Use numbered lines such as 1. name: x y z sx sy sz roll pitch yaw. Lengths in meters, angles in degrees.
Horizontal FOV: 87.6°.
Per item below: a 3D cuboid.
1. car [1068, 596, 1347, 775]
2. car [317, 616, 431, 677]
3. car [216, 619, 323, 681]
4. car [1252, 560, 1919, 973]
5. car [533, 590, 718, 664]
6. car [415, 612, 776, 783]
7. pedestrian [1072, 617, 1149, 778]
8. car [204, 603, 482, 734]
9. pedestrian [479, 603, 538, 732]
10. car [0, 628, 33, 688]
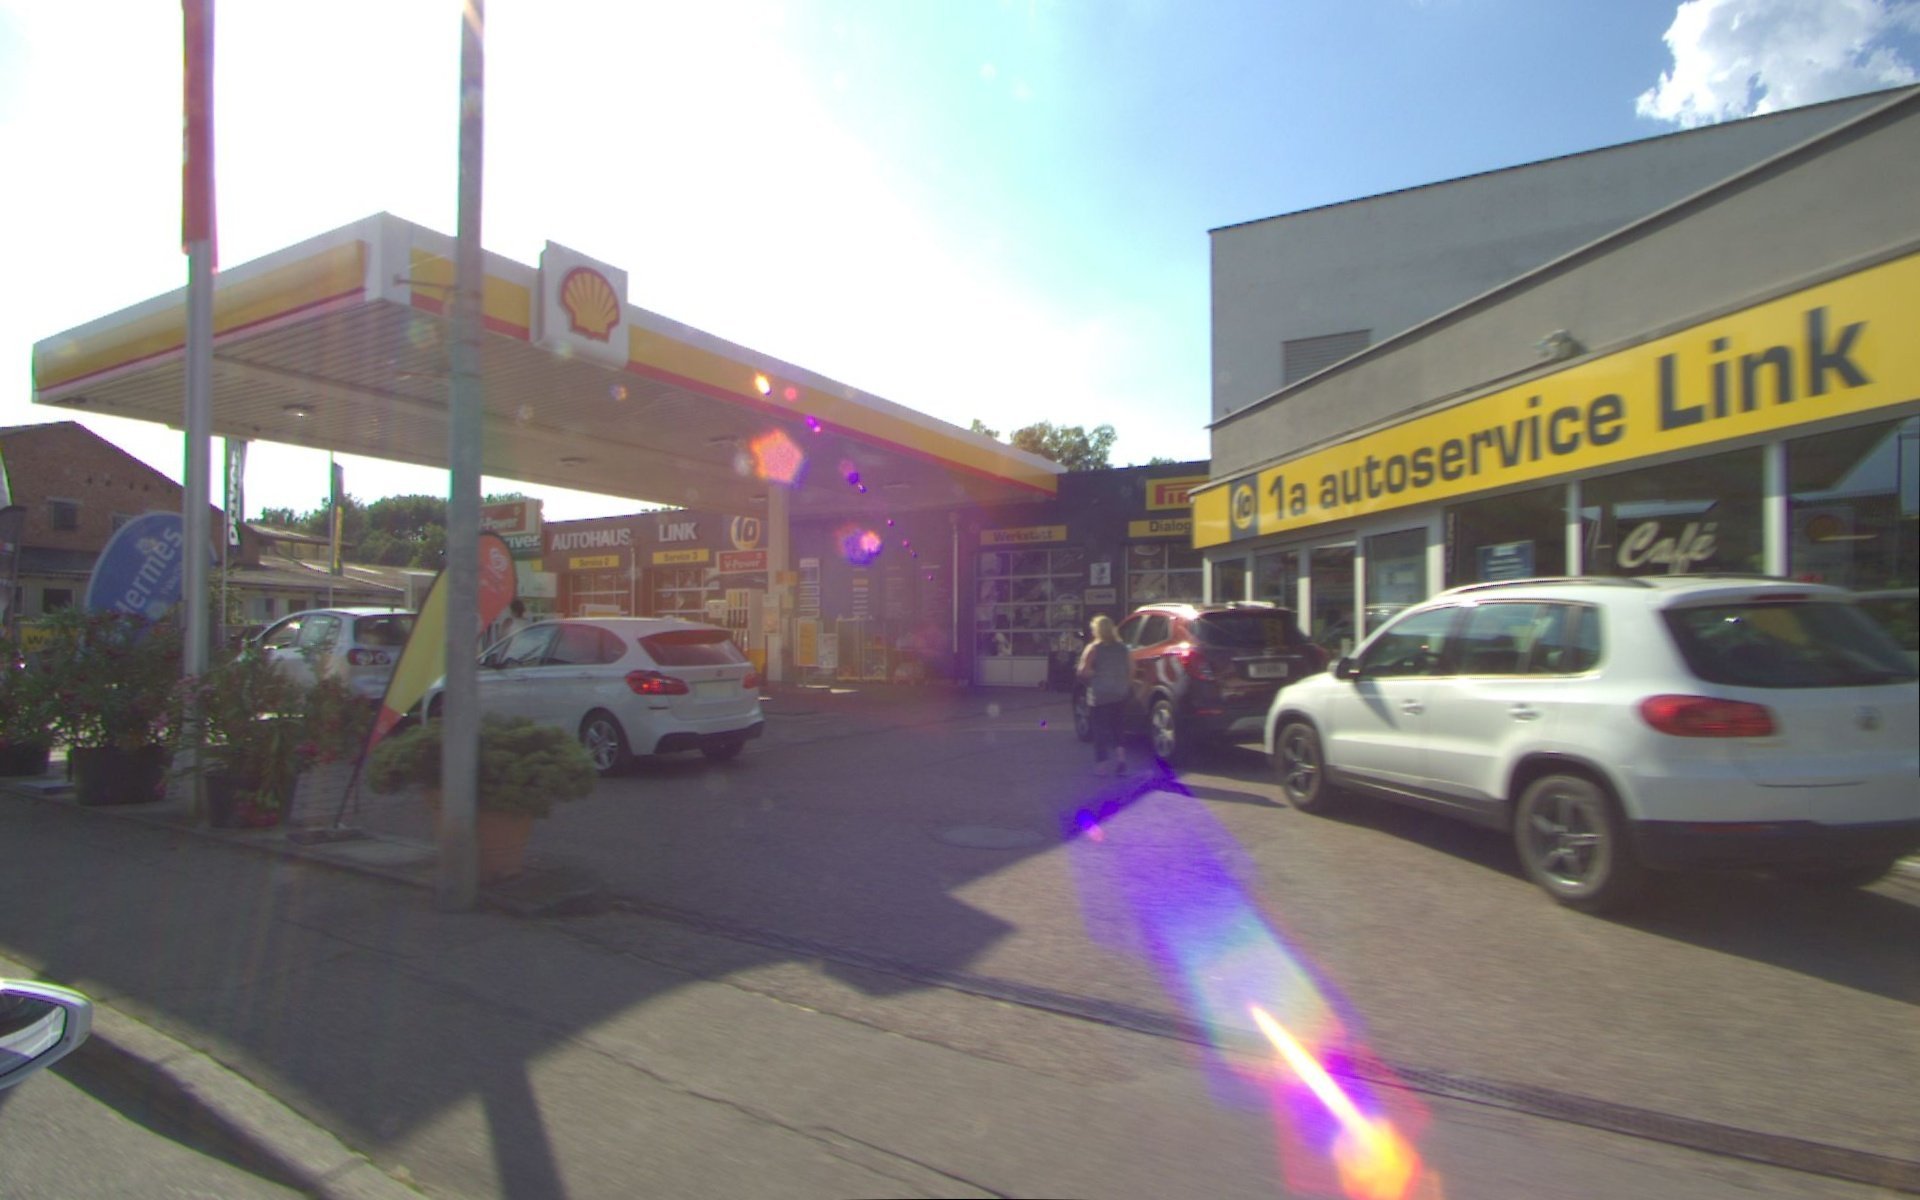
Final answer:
1. car: 2.566 0.856 11.299 1.646 1.654 3.686 -1 -2 -11
2. car: -20.142 1.552 34.346 4.489 1.948 1.574 0 -1 34
3. car: -21.716 1.534 31.471 3.581 1.815 1.574 0 -1 34
4. car: 3.563 0.713 6.278 1.646 1.696 4.075 -1 -1 -11
5. car: -7.127 0.619 21.235 3.941 1.418 1.535 -3 -3 31
6. car: -4.102 0.951 11.125 3.940 1.597 1.670 0 -1 31
7. pedestrian: 1.431 0.916 9.575 0.613 1.498 0.430 1 -1 -12
8. car: -8.627 0.874 13.933 3.940 1.597 1.670 0 -1 31
9. pedestrian: -6.052 0.897 13.439 0.526 1.691 0.500 -1 -2 31
10. car: -25.378 1.423 25.329 4.315 1.445 1.577 0 -3 30
